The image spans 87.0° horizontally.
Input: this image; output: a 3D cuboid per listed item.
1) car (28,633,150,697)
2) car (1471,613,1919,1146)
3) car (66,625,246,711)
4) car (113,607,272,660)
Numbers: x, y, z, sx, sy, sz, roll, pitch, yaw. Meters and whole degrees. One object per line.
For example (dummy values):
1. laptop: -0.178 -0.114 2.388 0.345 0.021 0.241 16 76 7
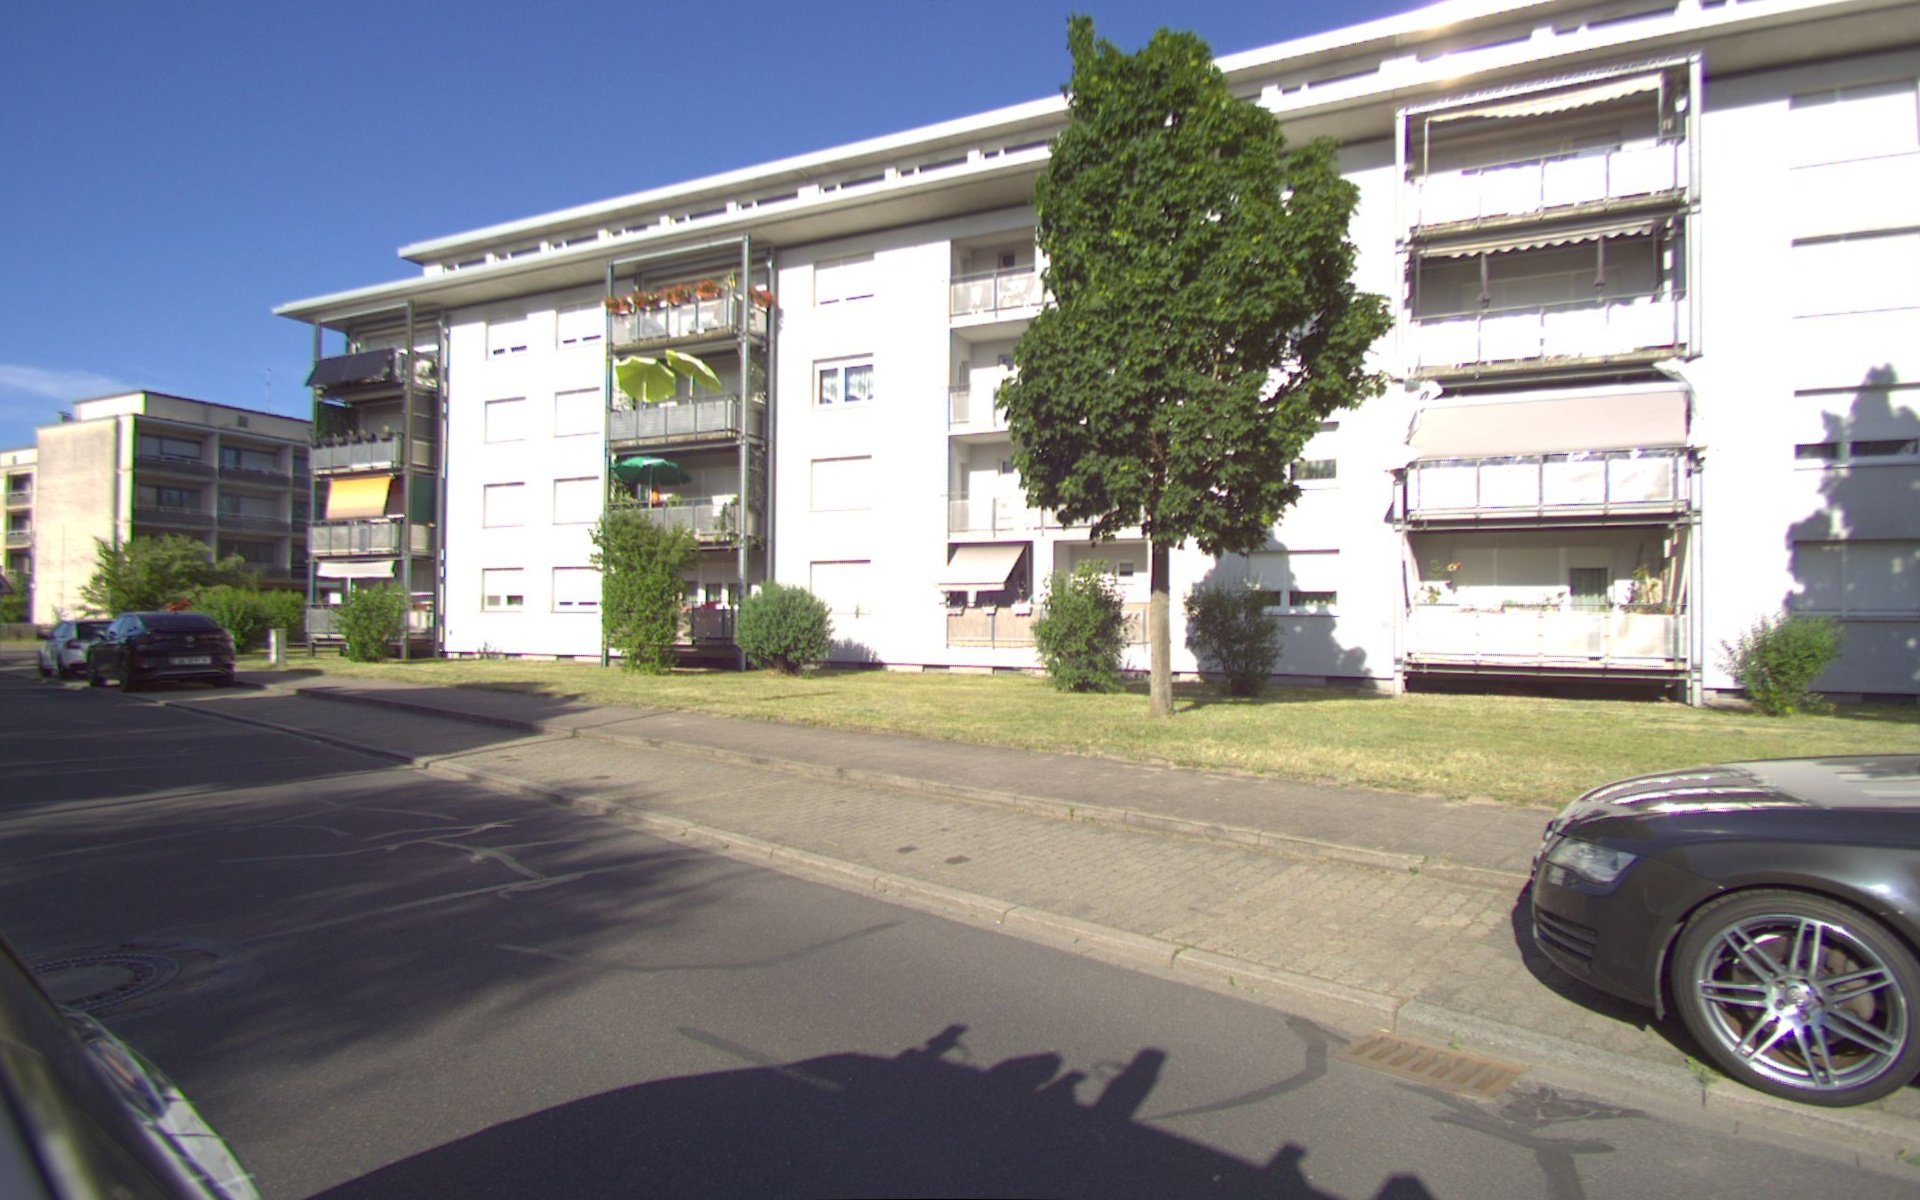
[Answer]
1. car: -22.073 1.584 25.587 4.326 1.478 1.630 -2 -2 40
2. car: 4.536 0.778 2.751 5.254 1.504 2.013 -3 -1 42
3. car: -17.220 1.372 21.605 4.805 1.616 1.896 -1 -3 38
4. car: -37.700 1.711 49.897 2.208 2.447 5.852 -3 -4 36
